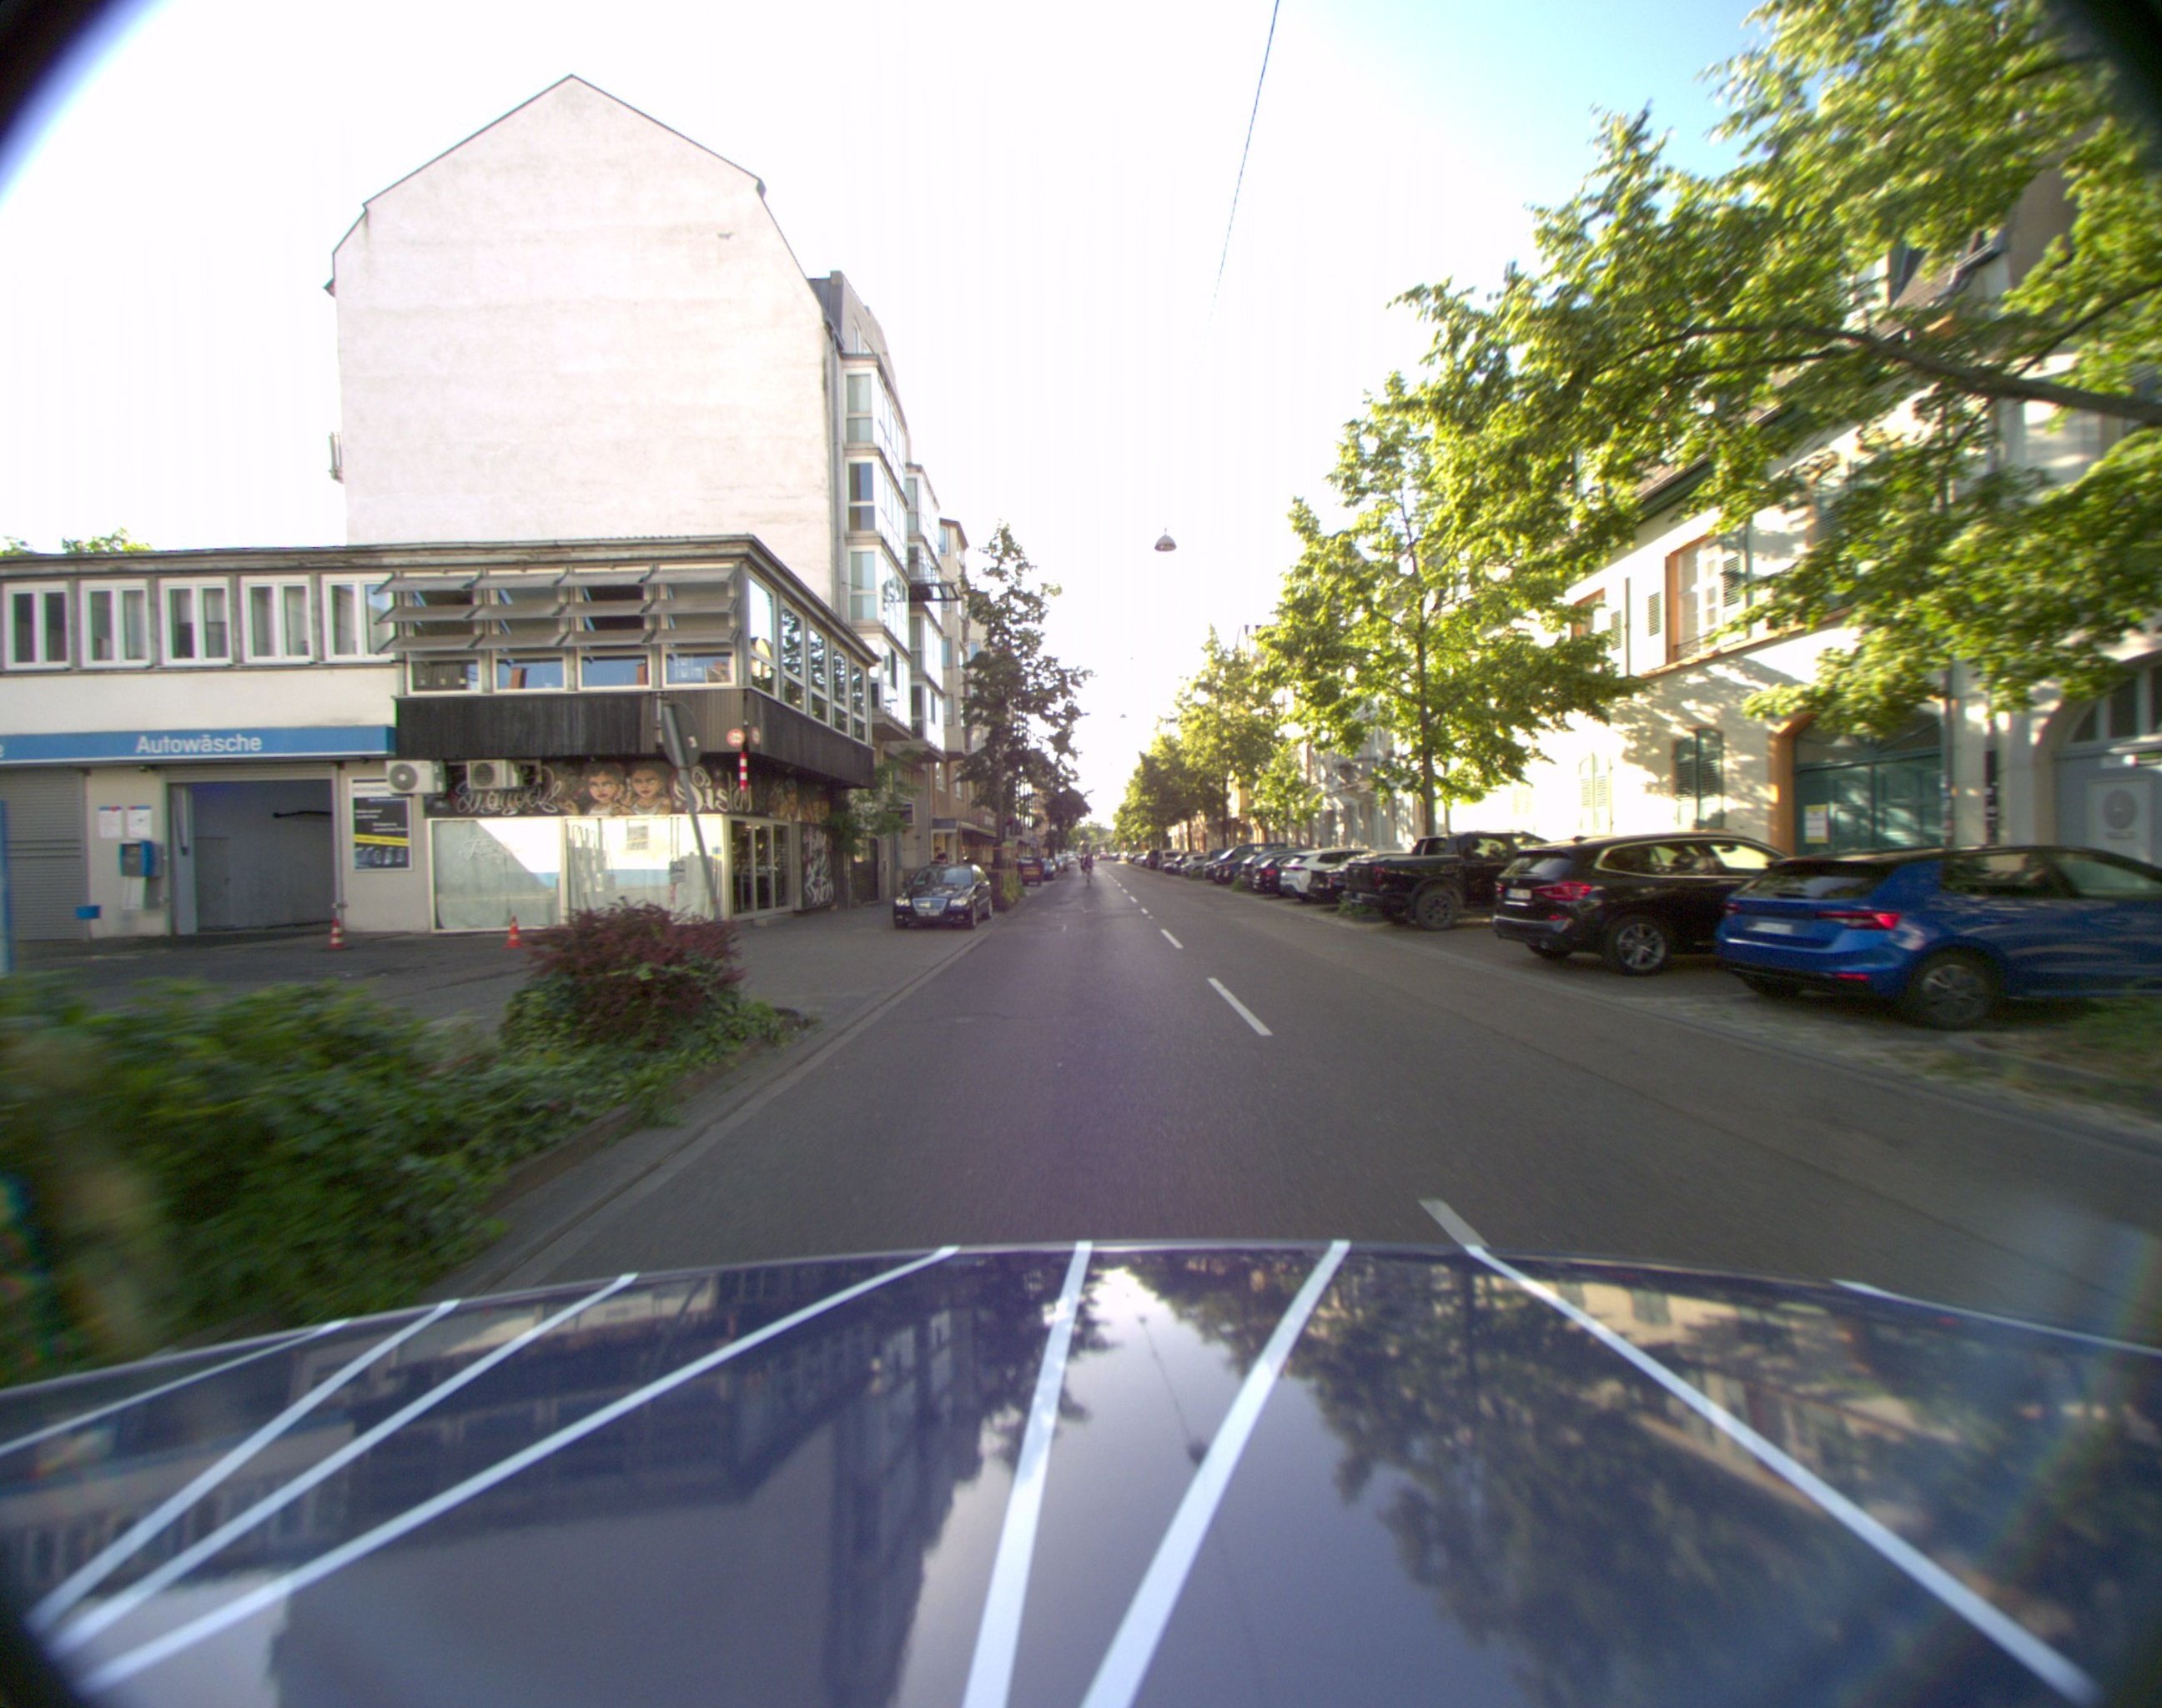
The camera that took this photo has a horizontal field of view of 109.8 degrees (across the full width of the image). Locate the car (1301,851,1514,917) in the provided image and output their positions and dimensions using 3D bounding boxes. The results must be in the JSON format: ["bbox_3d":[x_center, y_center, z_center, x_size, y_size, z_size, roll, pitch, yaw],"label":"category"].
[{"bbox_3d":[8.260,0.729,19.549,4.691,1.454,1.808,-2,1,2],"label":"car"}]

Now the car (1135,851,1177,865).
[{"bbox_3d":[9.005,0.462,91.456,4.713,1.484,1.999,-3,2,-4],"label":"car"}]

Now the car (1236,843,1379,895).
[{"bbox_3d":[8.210,0.531,27.862,4.691,1.702,1.808,-2,1,2],"label":"car"}]

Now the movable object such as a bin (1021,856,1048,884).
[{"bbox_3d":[-2.531,0.868,41.660,1.402,1.445,1.146,-1,1,1],"label":"movable object such as a bin"}]

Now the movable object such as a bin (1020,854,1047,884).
[{"bbox_3d":[-2.502,0.788,40.494,1.334,1.533,1.146,-1,1,1],"label":"movable object such as a bin"}]

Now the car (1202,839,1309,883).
[{"bbox_3d":[8.326,0.320,36.525,4.691,1.939,1.916,-2,1,2],"label":"car"}]

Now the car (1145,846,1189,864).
[{"bbox_3d":[9.255,0.083,81.872,4.353,1.814,1.928,-2,1,-7],"label":"car"}]

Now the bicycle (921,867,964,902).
[{"bbox_3d":[-4.857,1.046,26.534,0.683,1.142,1.680,-2,1,-41],"label":"bicycle"}]

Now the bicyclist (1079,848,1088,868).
[{"bbox_3d":[0.172,0.316,62.075,0.658,1.562,0.909,-2,1,1],"label":"bicyclist"}]

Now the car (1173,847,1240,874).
[{"bbox_3d":[8.780,0.449,53.482,4.350,1.699,1.916,-2,1,1],"label":"car"}]

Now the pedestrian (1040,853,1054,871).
[{"bbox_3d":[-2.897,0.678,64.401,1.058,1.527,0.892,-1,1,5],"label":"pedestrian"}]

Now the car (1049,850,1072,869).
[{"bbox_3d":[-2.028,0.526,77.165,1.826,1.767,4.932,1,0,4],"label":"car"}]

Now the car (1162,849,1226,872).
[{"bbox_3d":[8.310,0.470,56.026,4.476,1.532,1.917,-2,1,3],"label":"car"}]

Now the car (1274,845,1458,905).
[{"bbox_3d":[8.231,0.586,22.264,4.691,1.563,1.808,-2,1,2],"label":"car"}]

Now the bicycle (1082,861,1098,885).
[{"bbox_3d":[0.460,0.910,37.474,0.718,1.105,2.269,-2,1,1],"label":"bicycle"}]

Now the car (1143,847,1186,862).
[{"bbox_3d":[9.257,0.073,84.490,4.354,1.535,1.962,-2,1,-11],"label":"car"}]

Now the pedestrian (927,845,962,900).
[{"bbox_3d":[-4.909,0.666,27.282,0.925,1.924,0.762,-1,1,26],"label":"pedestrian"}]

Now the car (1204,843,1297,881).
[{"bbox_3d":[8.812,0.400,39.811,4.476,1.762,1.916,-2,1,2],"label":"car"}]

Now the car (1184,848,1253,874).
[{"bbox_3d":[9.255,0.469,51.396,4.350,1.573,1.809,-2,1,1],"label":"car"}]

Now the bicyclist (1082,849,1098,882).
[{"bbox_3d":[0.455,0.548,37.340,0.718,1.553,0.864,-2,1,1],"label":"bicyclist"}]

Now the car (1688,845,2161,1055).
[{"bbox_3d":[8.407,0.725,6.624,4.691,1.455,1.808,-2,1,2],"label":"car"}]

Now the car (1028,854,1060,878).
[{"bbox_3d":[-2.473,0.791,51.383,1.826,1.463,4.911,1,0,1],"label":"car"}]

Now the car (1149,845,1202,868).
[{"bbox_3d":[8.553,0.190,69.254,4.584,1.915,1.930,-2,1,3],"label":"car"}]

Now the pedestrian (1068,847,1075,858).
[{"bbox_3d":[-1.504,-0.197,121.352,0.693,1.709,0.896,1,1,25],"label":"pedestrian"}]

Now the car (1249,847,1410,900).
[{"bbox_3d":[8.103,0.613,25.080,4.691,1.510,1.808,-2,1,2],"label":"car"}]

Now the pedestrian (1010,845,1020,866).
[{"bbox_3d":[-5.391,0.093,61.914,0.629,1.686,0.504,0,1,29],"label":"pedestrian"}]

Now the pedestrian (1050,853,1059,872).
[{"bbox_3d":[-2.076,0.680,60.128,0.652,1.527,0.980,-1,1,-1],"label":"pedestrian"}]

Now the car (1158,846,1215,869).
[{"bbox_3d":[8.874,0.293,64.240,4.353,1.823,1.915,-2,1,-9],"label":"car"}]

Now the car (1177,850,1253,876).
[{"bbox_3d":[8.595,0.561,49.017,4.477,1.532,1.916,-2,1,0],"label":"car"}]

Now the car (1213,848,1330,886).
[{"bbox_3d":[8.210,0.538,33.063,4.657,1.451,1.683,-2,1,1],"label":"car"}]

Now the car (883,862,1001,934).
[{"bbox_3d":[-3.130,0.939,18.099,1.905,1.404,4.646,0,0,1],"label":"car"}]

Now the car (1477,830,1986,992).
[{"bbox_3d":[7.778,0.648,9.470,4.691,1.683,1.808,-2,1,2],"label":"car"}]

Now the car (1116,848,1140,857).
[{"bbox_3d":[8.903,-0.346,143.060,4.006,1.553,1.995,-2,1,-30],"label":"car"}]

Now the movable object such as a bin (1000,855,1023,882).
[{"bbox_3d":[-3.684,0.765,40.415,1.080,1.423,1.295,-1,1,1],"label":"movable object such as a bin"}]

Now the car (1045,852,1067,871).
[{"bbox_3d":[-2.311,0.676,70.807,1.826,1.587,4.841,1,0,1],"label":"car"}]

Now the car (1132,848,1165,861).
[{"bbox_3d":[9.217,0.037,104.406,4.349,1.535,1.944,-2,1,3],"label":"car"}]

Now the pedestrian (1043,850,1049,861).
[{"bbox_3d":[-5.532,0.175,119.148,0.617,1.682,0.676,2,4,45],"label":"pedestrian"}]

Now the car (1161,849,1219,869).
[{"bbox_3d":[8.808,0.362,61.404,4.351,1.430,1.916,-2,1,-1],"label":"car"}]

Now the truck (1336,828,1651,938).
[{"bbox_3d":[7.872,0.524,14.880,5.097,1.927,2.000,-1,1,0],"label":"truck"}]

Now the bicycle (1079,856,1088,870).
[{"bbox_3d":[0.185,0.750,62.048,0.666,1.061,1.836,-2,1,1],"label":"bicycle"}]

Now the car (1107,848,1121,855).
[{"bbox_3d":[7.198,-0.466,166.347,1.771,1.421,4.005,-2,1,20],"label":"car"}]

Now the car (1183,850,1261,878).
[{"bbox_3d":[8.564,0.603,46.354,4.476,1.532,1.917,-2,1,4],"label":"car"}]

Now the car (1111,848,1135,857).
[{"bbox_3d":[8.023,-0.282,145.288,4.006,1.433,1.995,-2,1,-30],"label":"car"}]
